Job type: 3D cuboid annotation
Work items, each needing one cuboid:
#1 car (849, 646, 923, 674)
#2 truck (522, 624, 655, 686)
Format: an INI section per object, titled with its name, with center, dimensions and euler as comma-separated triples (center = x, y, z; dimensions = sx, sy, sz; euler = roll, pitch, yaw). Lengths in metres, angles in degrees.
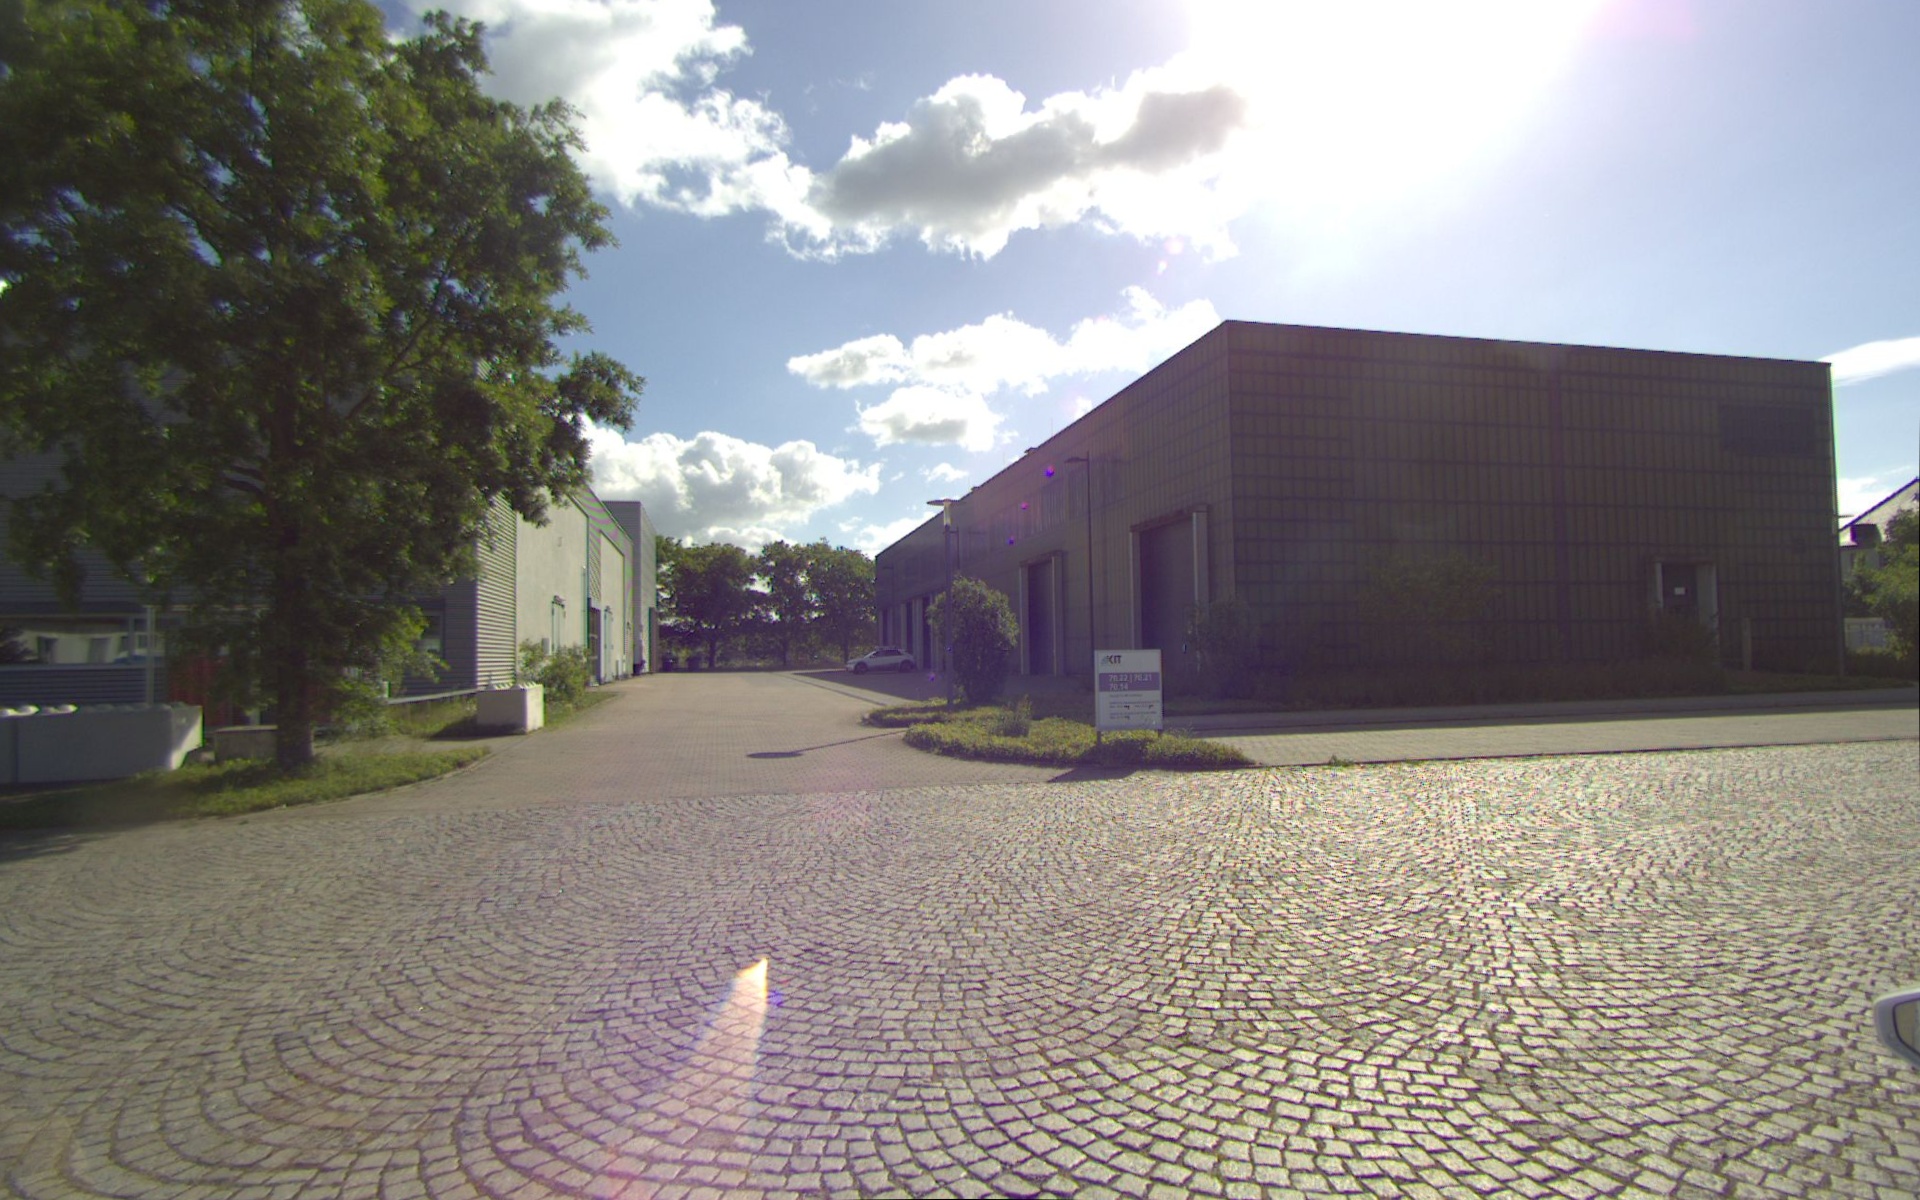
[car]
center = -4.824, 3.883, 65.500
dimensions = 4.502, 1.684, 1.995
euler = 0, -3, -15
[truck]
center = -24.580, 3.648, 66.803
dimensions = 7.963, 3.867, 2.645
euler = -1, -3, -13
